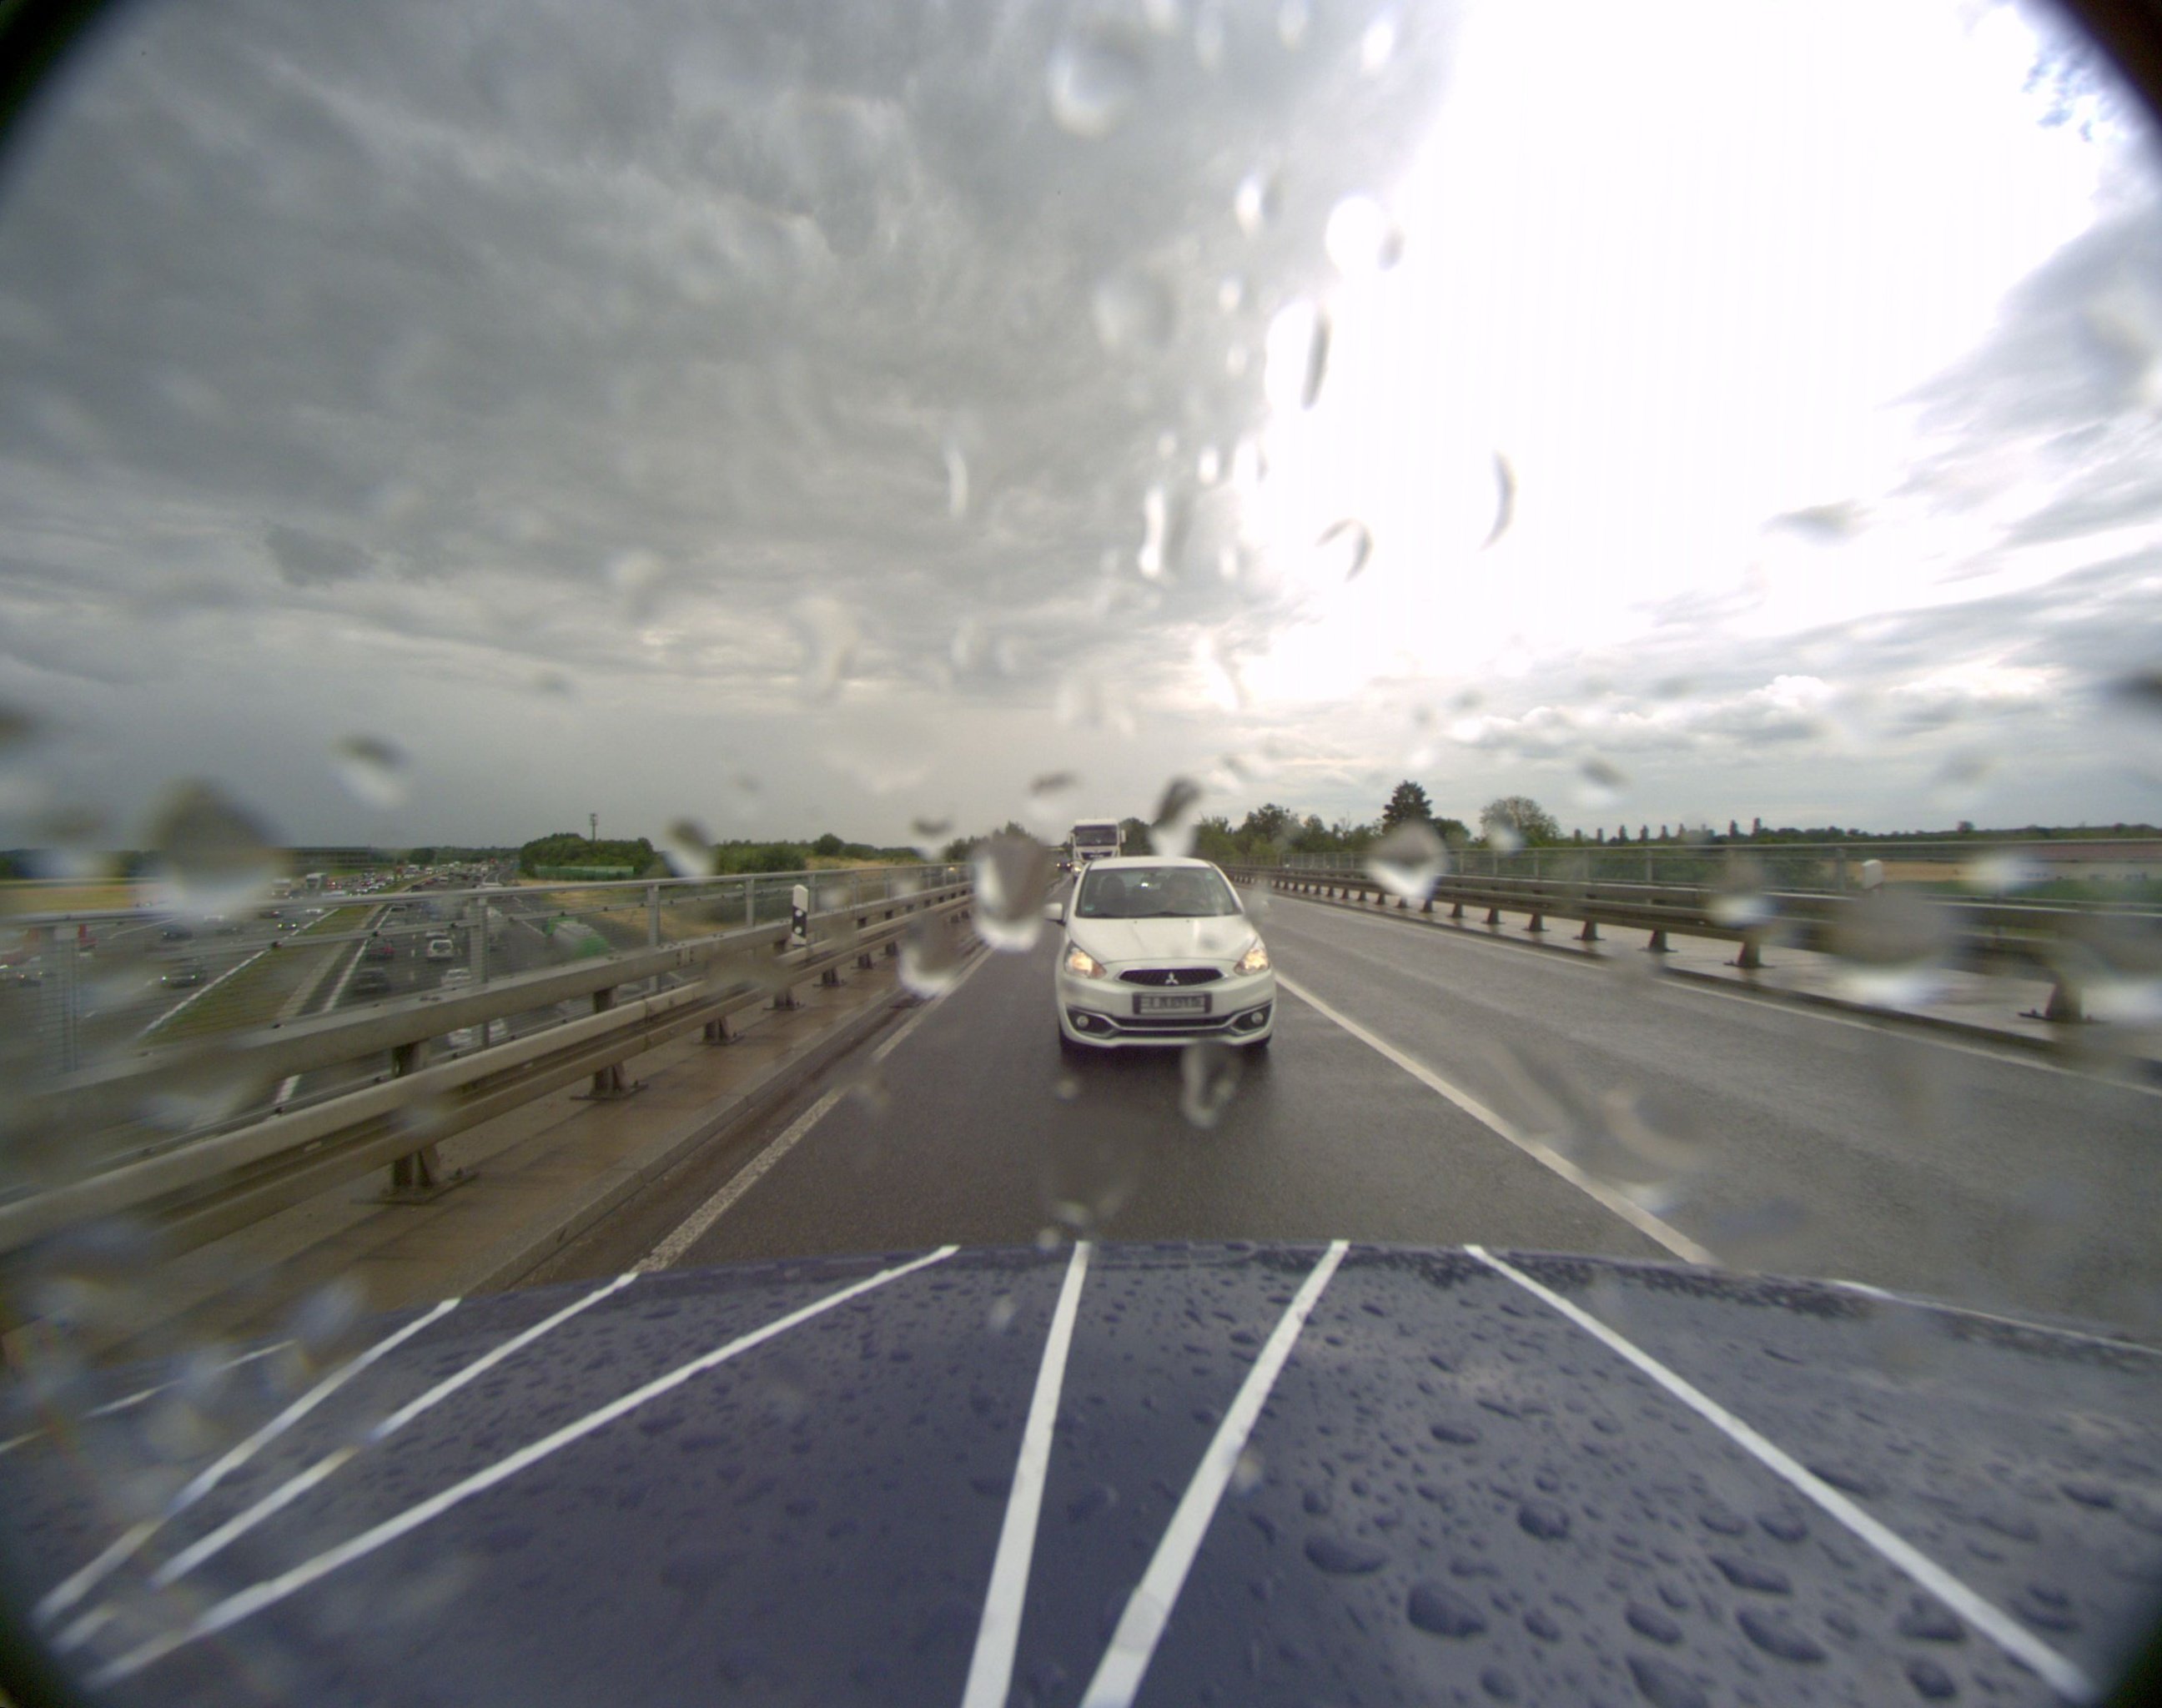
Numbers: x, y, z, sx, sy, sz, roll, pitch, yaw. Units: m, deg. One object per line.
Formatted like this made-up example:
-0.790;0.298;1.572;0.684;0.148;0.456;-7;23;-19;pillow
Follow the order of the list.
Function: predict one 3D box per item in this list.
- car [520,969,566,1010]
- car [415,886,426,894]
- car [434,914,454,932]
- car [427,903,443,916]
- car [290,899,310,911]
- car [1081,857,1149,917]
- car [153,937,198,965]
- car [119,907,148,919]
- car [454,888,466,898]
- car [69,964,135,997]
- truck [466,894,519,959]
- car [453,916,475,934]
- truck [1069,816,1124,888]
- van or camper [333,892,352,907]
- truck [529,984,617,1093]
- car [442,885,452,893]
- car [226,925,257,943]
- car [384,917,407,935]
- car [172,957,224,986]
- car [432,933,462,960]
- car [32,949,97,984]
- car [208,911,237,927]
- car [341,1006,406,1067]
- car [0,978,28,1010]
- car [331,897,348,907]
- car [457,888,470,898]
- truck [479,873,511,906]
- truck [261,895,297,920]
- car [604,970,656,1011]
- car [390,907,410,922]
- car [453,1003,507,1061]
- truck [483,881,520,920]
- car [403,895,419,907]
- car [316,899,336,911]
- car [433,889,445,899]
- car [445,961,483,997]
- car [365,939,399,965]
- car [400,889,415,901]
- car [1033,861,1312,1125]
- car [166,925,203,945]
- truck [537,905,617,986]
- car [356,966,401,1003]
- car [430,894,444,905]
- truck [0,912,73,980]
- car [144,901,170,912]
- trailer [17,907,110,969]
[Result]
-33.140;8.292;46.724;1.860;1.659;4.711;-3;1;-40;car
-157.791;8.560;181.519;1.860;1.764;4.711;-3;1;-40;car
-80.599;8.724;96.113;1.860;1.764;4.711;-3;1;-40;car
-100.978;8.620;118.799;1.860;1.764;4.711;-3;1;-40;car
-133.995;8.765;130.388;1.818;1.659;4.711;-3;1;-40;car
0.878;0.852;21.346;1.675;1.367;4.129;-2;1;1;car
-80.101;8.542;67.270;1.818;1.836;4.711;-3;1;-41;car
-139.192;8.620;111.639;1.818;1.428;4.711;-3;1;-41;car
-133.798;8.407;163.768;1.860;1.764;4.711;-3;1;-40;car
-66.560;8.575;51.755;1.818;1.428;4.711;-3;1;-41;car
-60.413;7.110;77.745;3.302;5.411;15.587;-3;1;-41;truck
-74.550;8.573;91.776;1.860;1.764;4.711;-3;1;-40;car
0.767;-0.300;42.702;2.631;3.537;8.473;-2;3;0;truck
-141.638;8.663;145.759;2.063;2.436;7.310;-3;1;-40;van or camper
-23.186;8.069;34.430;2.216;2.949;9.283;-3;1;-40;truck
-148.672;8.234;178.173;1.860;1.764;4.711;-3;1;-40;car
-100.283;9.548;90.762;1.818;1.659;4.711;-3;1;-40;car
-83.097;8.684;92.175;1.860;1.764;4.711;-3;1;-40;car
-64.960;8.608;55.960;1.818;1.428;4.711;-3;1;-41;car
-54.722;7.939;65.625;1.860;1.764;4.711;-3;1;-40;car
-74.613;8.187;55.842;1.818;1.873;4.711;-3;1;-41;car
-116.578;8.809;103.220;1.818;1.659;4.711;-3;1;-40;car
-32.442;8.289;34.966;1.860;1.659;4.711;-3;1;-40;car
-66.214;8.627;45.993;1.818;1.428;4.711;-3;1;-41;car
-141.071;9.163;144.588;1.860;1.659;4.711;-3;1;-40;car
-120.733;7.557;148.480;1.860;1.764;4.711;-3;1;-40;car
-105.813;6.220;137.137;3.499;5.322;15.587;-3;1;-41;truck
-120.996;8.039;114.751;2.600;3.161;8.373;-3;1;-40;truck
-27.196;8.160;45.759;1.860;1.659;4.711;-3;1;-40;car
-92.467;8.199;103.201;1.860;1.764;4.711;-3;1;-40;car
-29.196;8.542;36.837;1.860;1.659;4.711;-3;1;-40;car
-90.671;7.099;118.775;3.499;5.322;15.587;-3;1;-41;truck
-117.895;8.290;133.673;1.860;1.764;4.711;-3;1;-40;car
-127.622;8.617;128.490;1.860;1.659;4.711;-3;1;-40;car
-132.293;8.188;156.613;1.860;1.764;4.711;-3;1;-40;car
-41.761;8.417;51.368;1.860;1.659;4.711;-3;1;-40;car
-60.477;8.473;65.778;1.860;1.659;4.711;-3;1;-40;car
-134.231;8.160;151.506;2.003;2.003;3.989;-7;3;-43;car
0.593;0.884;6.764;1.675;1.476;4.129;-2;1;1;car
-99.098;8.952;84.042;1.818;1.659;4.711;-3;1;-40;car
-41.446;7.110;62.113;3.302;5.135;15.587;-3;1;-41;truck
-46.766;8.623;50.645;1.860;1.659;4.711;-3;1;-40;car
-119.256;8.328;140.702;1.860;1.764;4.711;-3;1;-40;car
-84.122;7.202;60.324;2.691;4.600;9.727;-3;1;-41;truck
-147.623;8.429;121.392;1.818;1.428;4.711;-3;1;-41;car
-90.479;7.277;67.778;2.691;4.602;9.882;-3;1;-41;trailer
